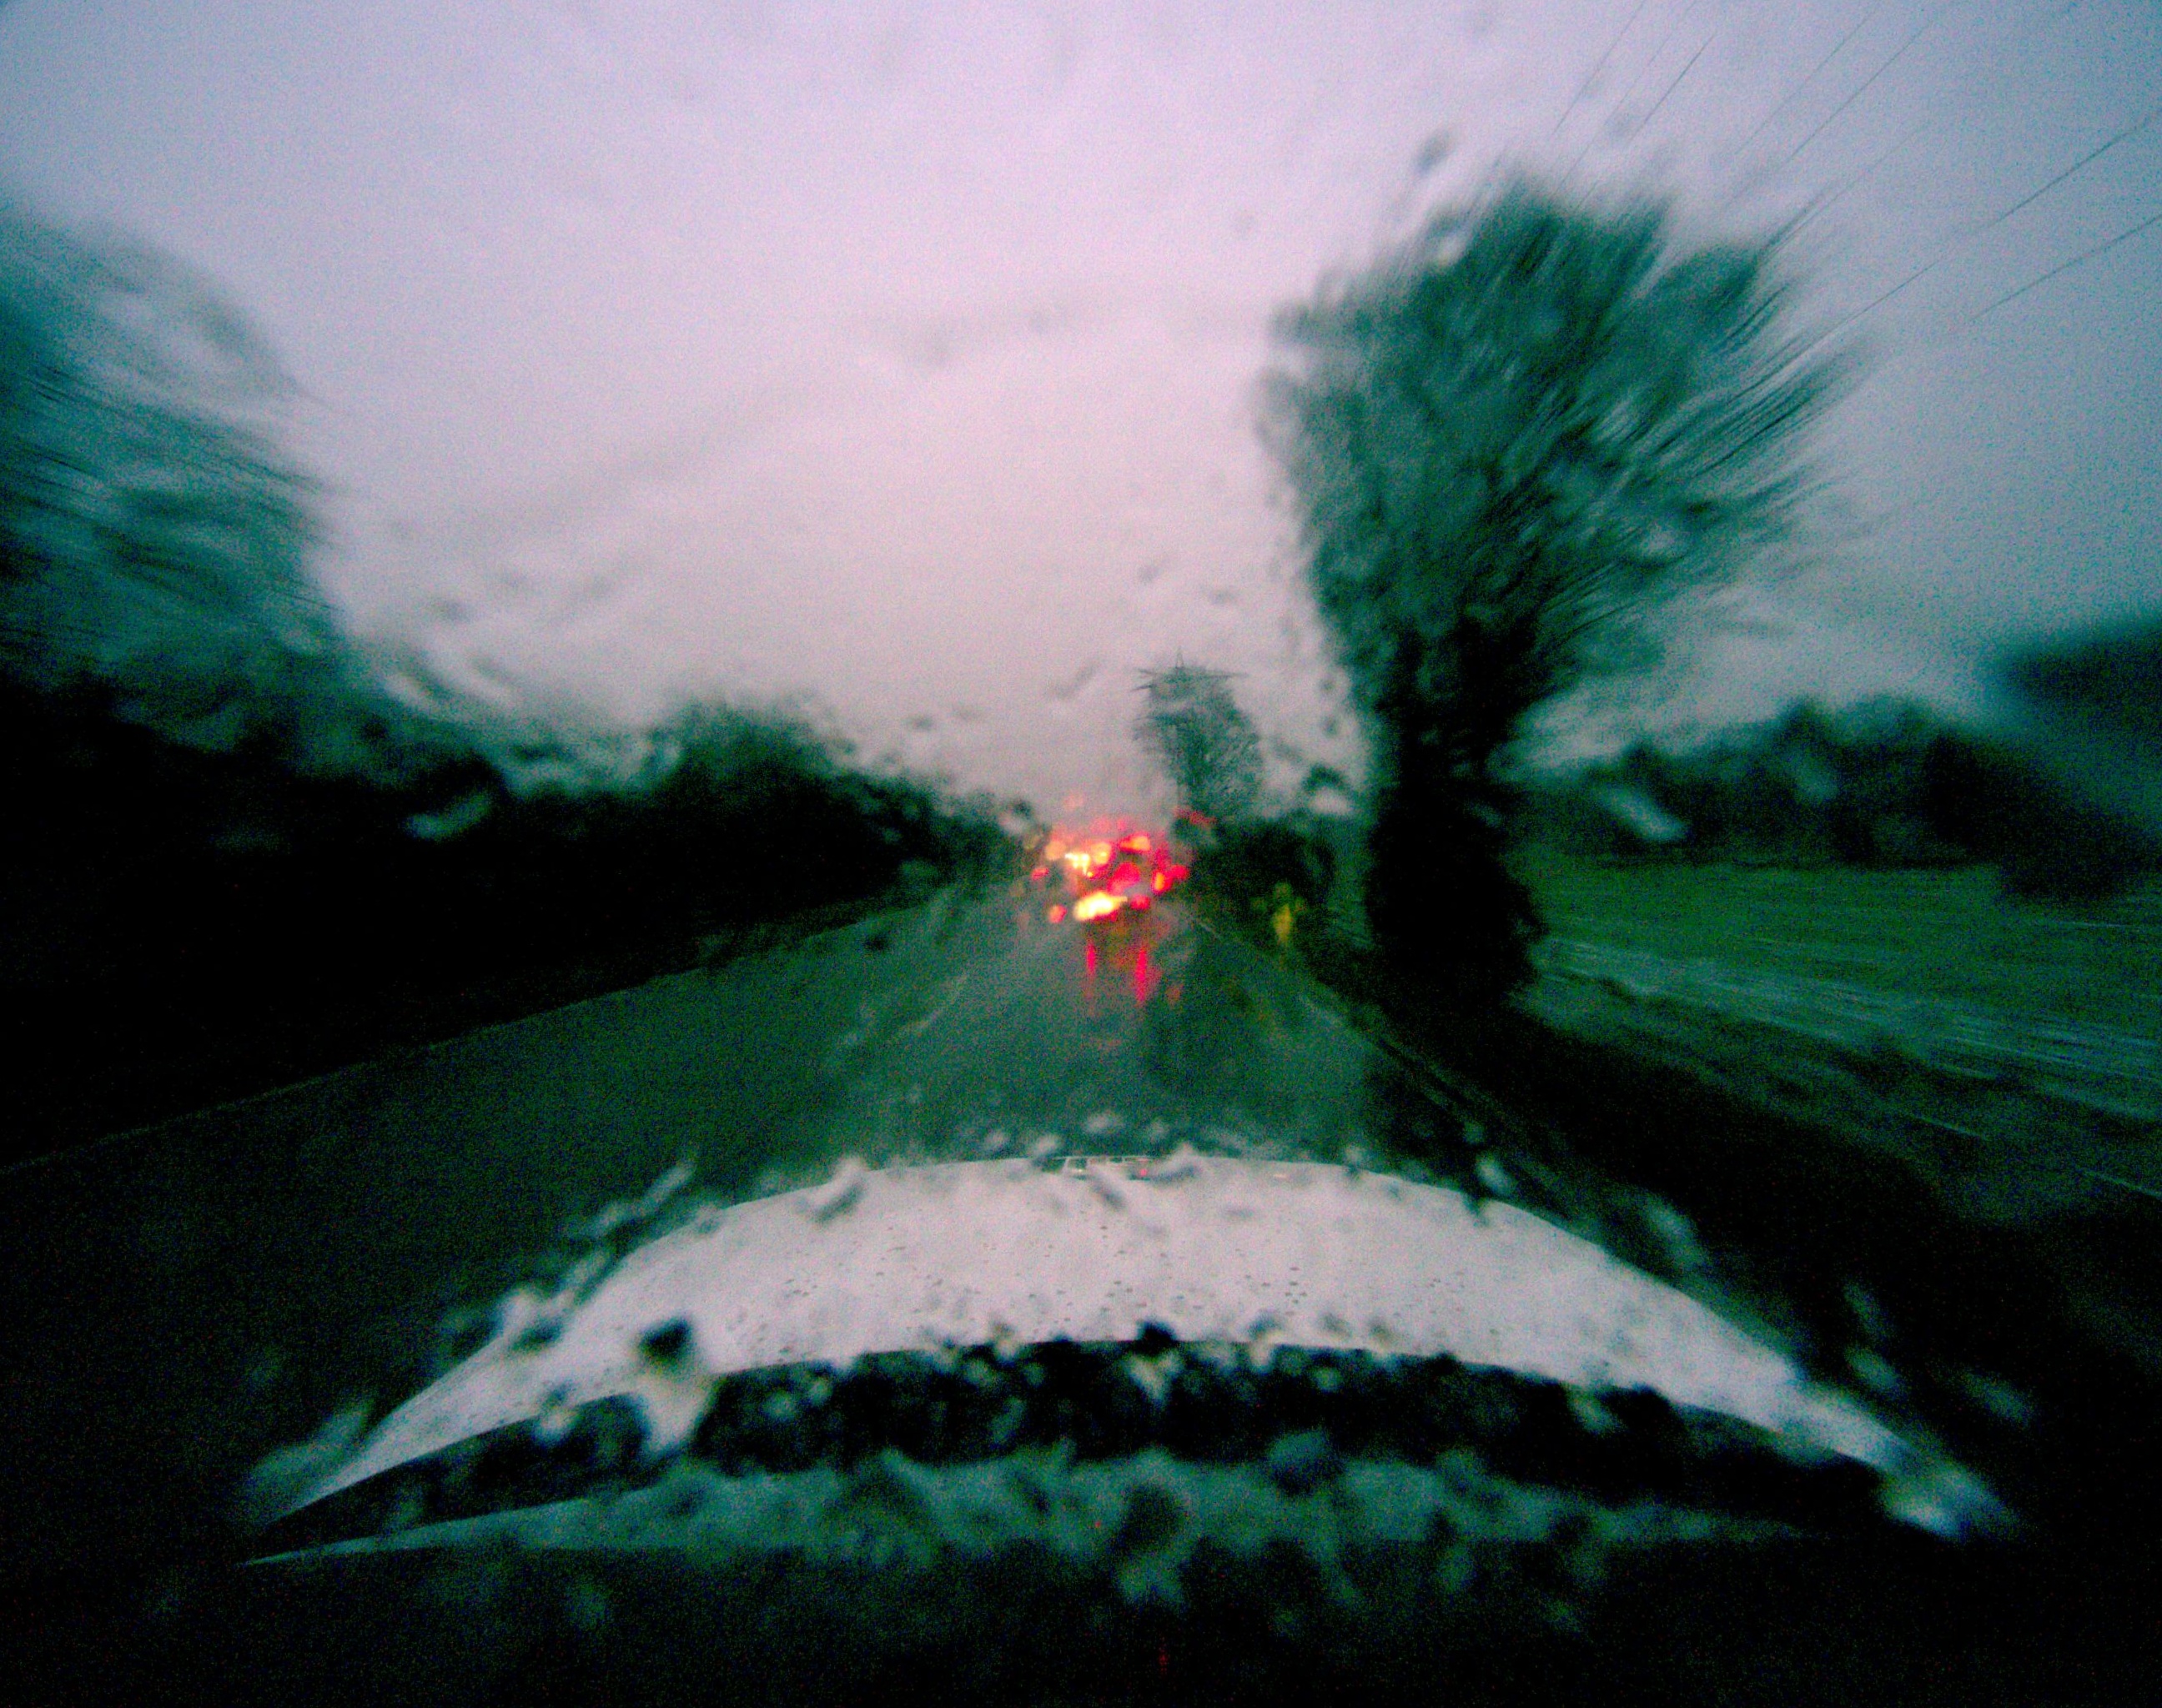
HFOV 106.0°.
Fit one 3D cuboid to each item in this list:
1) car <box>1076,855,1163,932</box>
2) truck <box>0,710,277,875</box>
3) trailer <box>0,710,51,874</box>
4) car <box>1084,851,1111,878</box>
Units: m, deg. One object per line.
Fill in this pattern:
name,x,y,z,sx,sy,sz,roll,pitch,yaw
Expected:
car,0.944,0.924,21.022,1.986,1.752,4.001,-2,0,1
truck,-25.485,-1.339,21.178,2.981,3.632,6.068,-2,0,1
trailer,-25.668,-1.382,13.322,2.988,3.633,11.389,-1,0,1
car,1.318,0.785,63.990,1.986,2.013,4.001,-2,0,2
